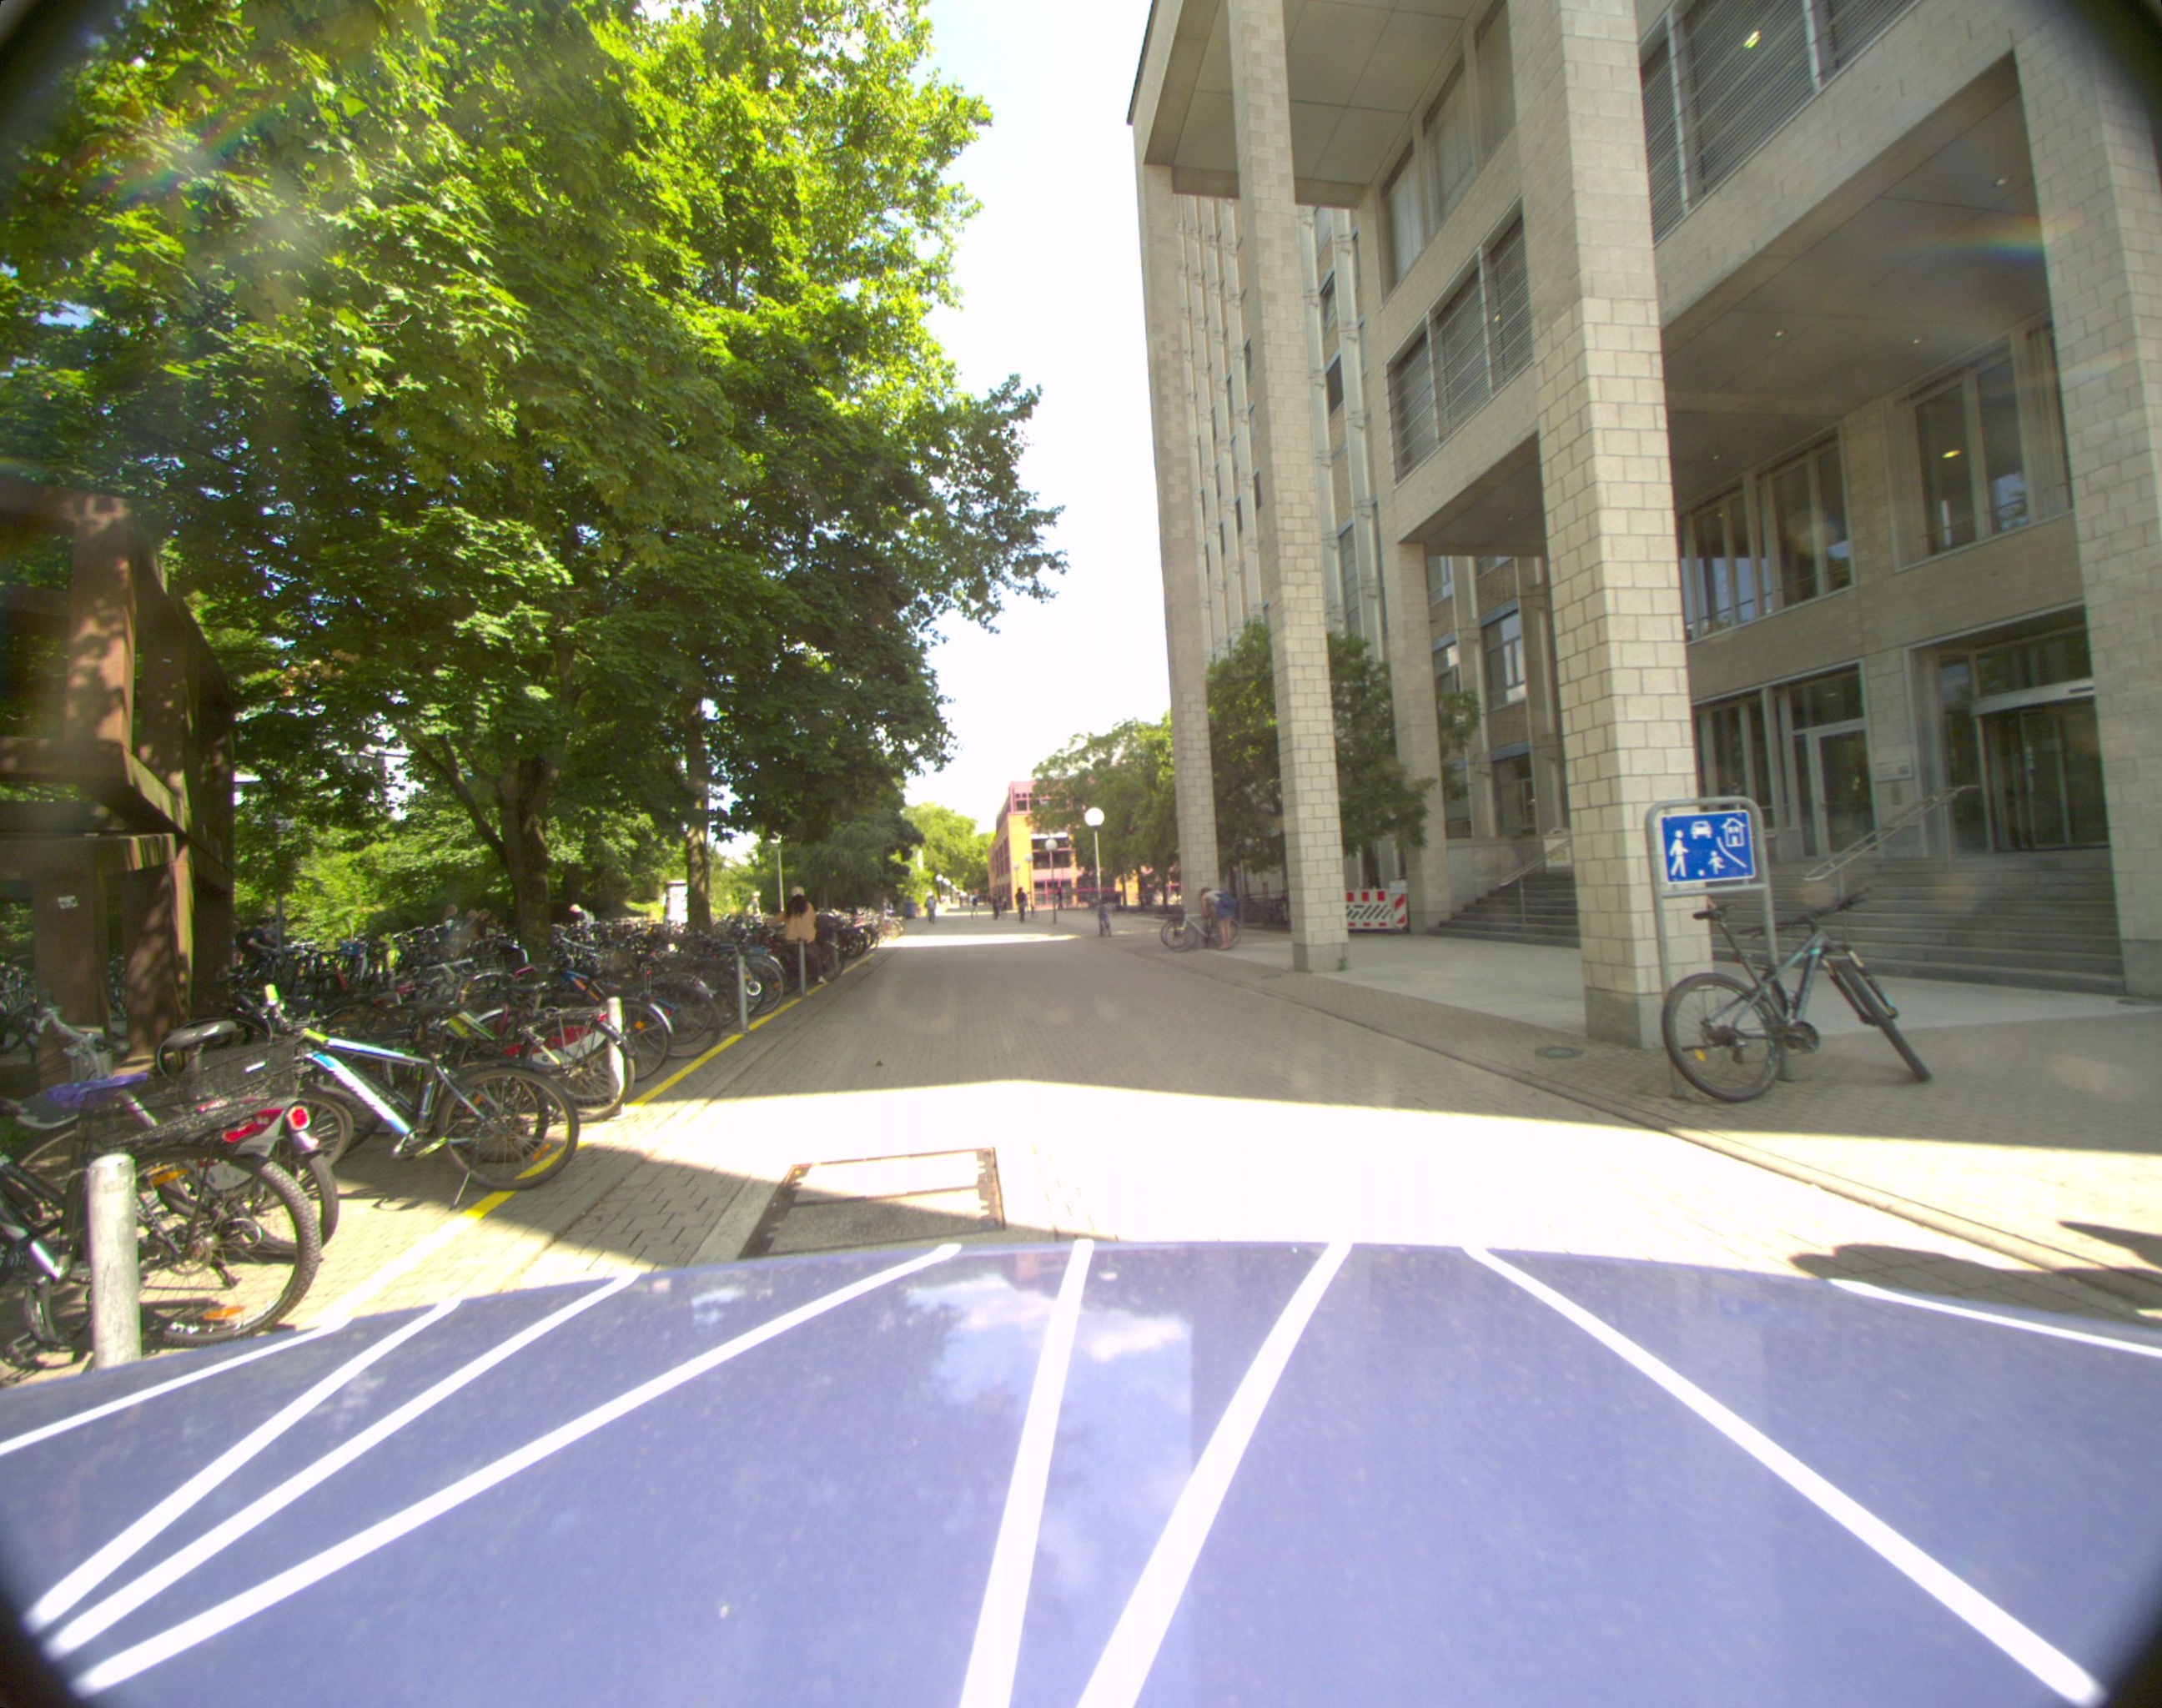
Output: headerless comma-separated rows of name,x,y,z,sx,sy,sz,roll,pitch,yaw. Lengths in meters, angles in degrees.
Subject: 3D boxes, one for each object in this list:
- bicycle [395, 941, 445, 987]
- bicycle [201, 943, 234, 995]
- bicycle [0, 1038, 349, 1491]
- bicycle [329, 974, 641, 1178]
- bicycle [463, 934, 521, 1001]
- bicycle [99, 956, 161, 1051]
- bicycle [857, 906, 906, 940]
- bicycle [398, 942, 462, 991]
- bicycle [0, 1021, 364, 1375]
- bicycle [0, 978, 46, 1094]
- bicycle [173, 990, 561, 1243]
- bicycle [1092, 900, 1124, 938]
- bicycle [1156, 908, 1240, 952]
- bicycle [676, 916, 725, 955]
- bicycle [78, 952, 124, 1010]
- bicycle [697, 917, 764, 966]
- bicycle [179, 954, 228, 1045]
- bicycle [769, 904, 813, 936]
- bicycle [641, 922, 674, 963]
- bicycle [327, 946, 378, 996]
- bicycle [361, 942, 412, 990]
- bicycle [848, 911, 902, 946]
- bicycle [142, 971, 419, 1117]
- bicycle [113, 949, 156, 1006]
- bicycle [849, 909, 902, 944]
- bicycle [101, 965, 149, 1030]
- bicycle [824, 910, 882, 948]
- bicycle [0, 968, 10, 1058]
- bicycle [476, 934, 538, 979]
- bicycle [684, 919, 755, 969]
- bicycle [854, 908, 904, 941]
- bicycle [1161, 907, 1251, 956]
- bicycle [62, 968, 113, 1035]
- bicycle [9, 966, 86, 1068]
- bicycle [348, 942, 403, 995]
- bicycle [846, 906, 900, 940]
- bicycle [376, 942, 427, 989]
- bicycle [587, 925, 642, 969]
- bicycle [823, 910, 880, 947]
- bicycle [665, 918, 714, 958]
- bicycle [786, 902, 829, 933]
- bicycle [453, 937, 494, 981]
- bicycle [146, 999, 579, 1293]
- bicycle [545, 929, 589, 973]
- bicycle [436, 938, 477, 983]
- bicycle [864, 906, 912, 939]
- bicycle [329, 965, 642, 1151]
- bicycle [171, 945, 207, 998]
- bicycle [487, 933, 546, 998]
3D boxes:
bicycle,-16.284,2.715,18.707,1.468,1.076,0.353,-5,-4,25
bicycle,-18.238,2.403,16.064,1.592,0.973,0.405,-4,-1,42
bicycle,-3.402,1.262,2.390,1.490,1.134,0.561,-2,0,-12
bicycle,-3.694,1.359,4.788,1.514,1.079,0.482,-2,0,-4
bicycle,-11.105,2.100,14.302,1.840,1.163,0.346,-4,-2,36
bicycle,-13.706,2.108,10.973,1.840,1.163,0.414,-4,-2,42
bicycle,-7.293,2.513,27.768,1.689,1.143,0.551,-2,-4,-14
bicycle,-14.398,2.466,16.791,1.899,0.973,0.479,-4,-1,32
bicycle,-3.810,1.303,3.073,1.524,1.134,0.492,-2,0,10
bicycle,-11.391,1.876,7.273,0.474,1.103,1.673,-5,-2,45
bicycle,-3.691,1.331,4.016,1.474,1.079,0.460,-2,0,-8
bicycle,0.838,2.000,23.677,0.570,1.096,1.833,-2,-3,-11
bicycle,2.582,1.680,16.839,1.774,0.894,0.449,-3,-2,9
bicycle,-11.200,2.411,22.362,1.469,1.076,0.353,-4,-4,19
bicycle,-19.097,2.447,14.819,1.592,0.973,0.405,-4,-1,42
bicycle,-8.834,2.198,19.192,1.473,1.077,0.352,-3,-2,-22
bicycle,-13.078,2.129,11.349,1.840,1.163,0.414,-4,-2,42
bicycle,-10.475,2.384,27.418,1.684,1.076,0.480,-5,-5,28
bicycle,-11.741,2.461,21.047,0.455,1.076,1.468,1,-6,-43
bicycle,-16.736,2.683,17.452,1.468,1.076,0.353,-5,-4,26
bicycle,-16.447,2.666,17.992,1.468,1.076,0.353,-5,-4,25
bicycle,-6.776,2.447,25.053,1.689,1.076,0.529,-2,-4,-14
bicycle,-6.804,1.602,6.501,1.826,1.071,0.464,-2,0,-1
bicycle,-18.817,2.433,15.119,1.592,0.973,0.405,-4,-1,42
bicycle,-6.897,2.444,25.569,1.689,1.076,0.529,-2,-4,-14
bicycle,-17.073,2.529,13.560,1.899,0.973,0.479,-4,-1,38
bicycle,-7.109,2.332,23.718,1.689,1.076,0.478,-2,-4,-14
bicycle,-14.345,2.114,9.798,1.840,1.163,0.389,-4,-2,42
bicycle,-13.657,2.423,18.058,1.899,0.973,0.479,-4,-1,32
bicycle,-8.662,2.144,18.237,1.472,1.077,0.352,-3,-2,-13
bicycle,-7.166,2.508,27.007,1.689,1.076,0.529,-2,-4,-14
bicycle,2.626,1.619,16.001,1.776,0.894,0.337,-4,-2,-4
bicycle,-17.318,2.541,13.259,1.899,0.973,0.479,-4,-1,38
bicycle,-14.010,2.160,10.330,1.840,1.163,0.414,-4,-2,42
bicycle,-14.837,2.377,15.955,1.899,0.973,0.479,-4,-1,37
bicycle,-7.177,2.384,26.255,1.687,1.076,0.529,-3,-4,1
bicycle,-16.434,2.694,18.382,1.468,1.076,0.353,-5,-4,25
bicycle,-12.234,2.434,19.933,1.469,1.076,0.479,-5,-4,24
bicycle,-7.321,2.376,24.330,1.689,1.076,0.529,-2,-4,-14
bicycle,-11.332,2.421,21.986,1.469,1.076,0.353,-4,-4,19
bicycle,-10.140,2.361,28.177,1.684,1.076,0.480,-5,-5,27
bicycle,-15.527,2.678,19.412,1.468,1.076,0.353,-6,-5,32
bicycle,-3.297,1.313,3.599,1.441,1.079,0.460,-2,0,-11
bicycle,-12.810,2.383,18.924,1.899,0.973,0.479,-4,-1,44
bicycle,-15.711,2.689,19.105,1.468,1.076,0.353,-6,-5,32
bicycle,-7.220,2.543,28.399,1.689,1.143,0.551,-2,-4,-14
bicycle,-4.038,1.368,5.231,1.695,1.079,0.482,-2,0,-4
bicycle,-18.508,2.413,15.773,1.592,0.973,0.405,-4,-1,42
bicycle,-10.786,2.099,14.501,1.840,1.163,0.346,-4,-2,36
